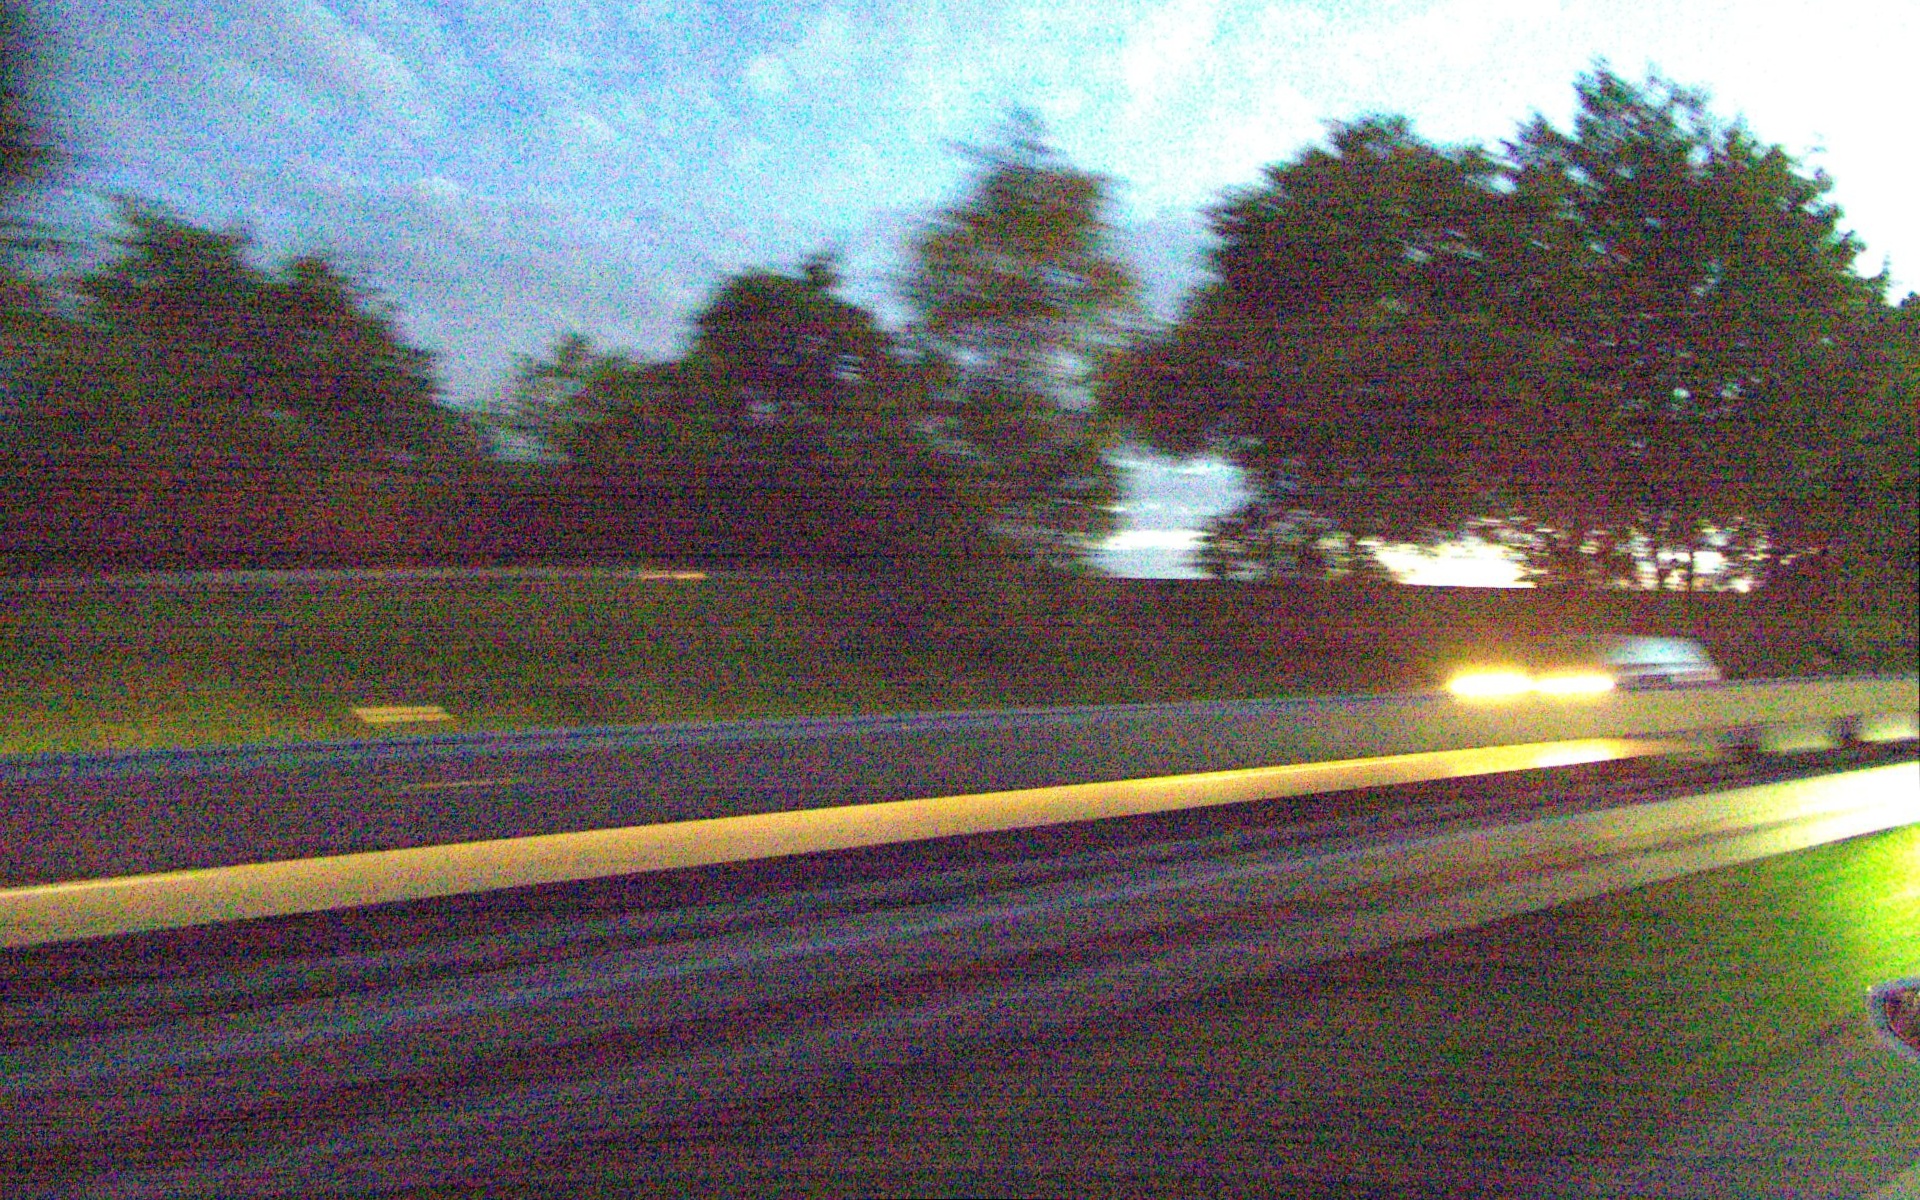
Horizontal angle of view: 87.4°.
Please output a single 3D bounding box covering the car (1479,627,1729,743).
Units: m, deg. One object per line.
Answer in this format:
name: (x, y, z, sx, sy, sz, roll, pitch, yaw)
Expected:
car: (10.324, 1.276, 16.035, 4.118, 1.608, 1.674, 2, 0, -31)
